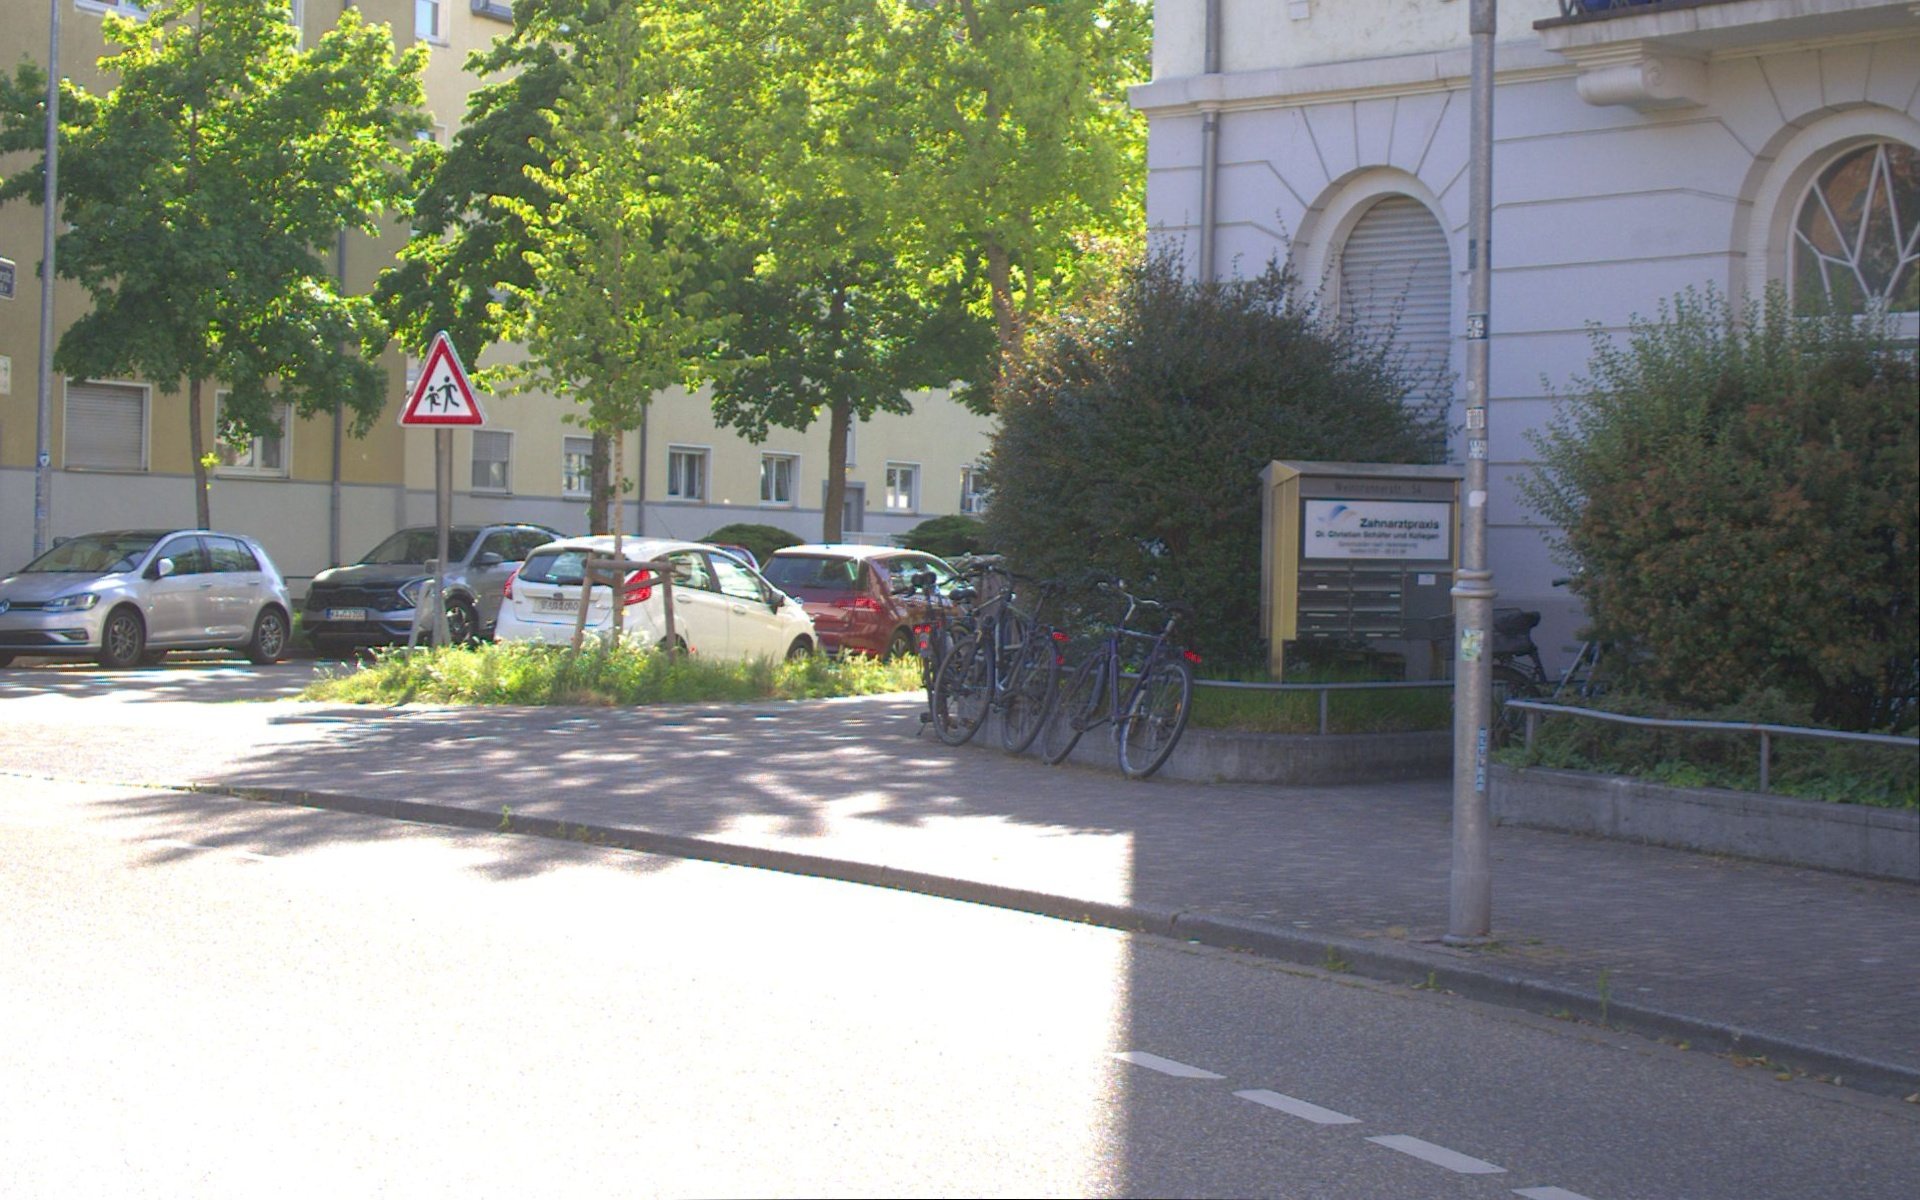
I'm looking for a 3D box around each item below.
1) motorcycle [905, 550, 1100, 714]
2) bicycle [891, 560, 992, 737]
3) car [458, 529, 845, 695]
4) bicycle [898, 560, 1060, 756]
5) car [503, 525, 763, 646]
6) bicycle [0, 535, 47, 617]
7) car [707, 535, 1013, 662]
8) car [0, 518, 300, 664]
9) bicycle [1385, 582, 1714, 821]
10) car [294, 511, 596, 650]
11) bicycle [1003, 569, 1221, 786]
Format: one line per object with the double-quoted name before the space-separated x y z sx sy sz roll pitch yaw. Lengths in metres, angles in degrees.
"motorcycle" 0.336 0.228 25.970 0.887 1.187 1.488 -1 1 27
"bicycle" -0.110 0.303 23.097 0.498 1.104 1.950 1 2 5
"car" -2.800 0.096 32.094 1.797 1.408 3.995 2 1 25
"bicycle" 0.098 0.328 20.843 0.498 1.104 1.801 0 2 -15
"car" -4.267 -0.202 45.512 1.796 1.505 3.996 1 1 22
"bicycle" -12.253 -0.309 43.283 0.499 1.023 1.447 2 1 37
"car" -0.992 -0.028 36.260 1.796 1.251 3.714 1 1 24
"car" -8.714 -0.106 35.631 1.800 1.406 3.995 1 1 22
"bicycle" 2.895 0.474 16.832 1.677 1.104 0.500 -1 1 -32
"car" -6.110 -0.235 41.232 1.796 1.570 3.995 1 0 22
"bicycle" 0.820 0.402 19.058 0.498 1.104 1.801 0 2 -22
